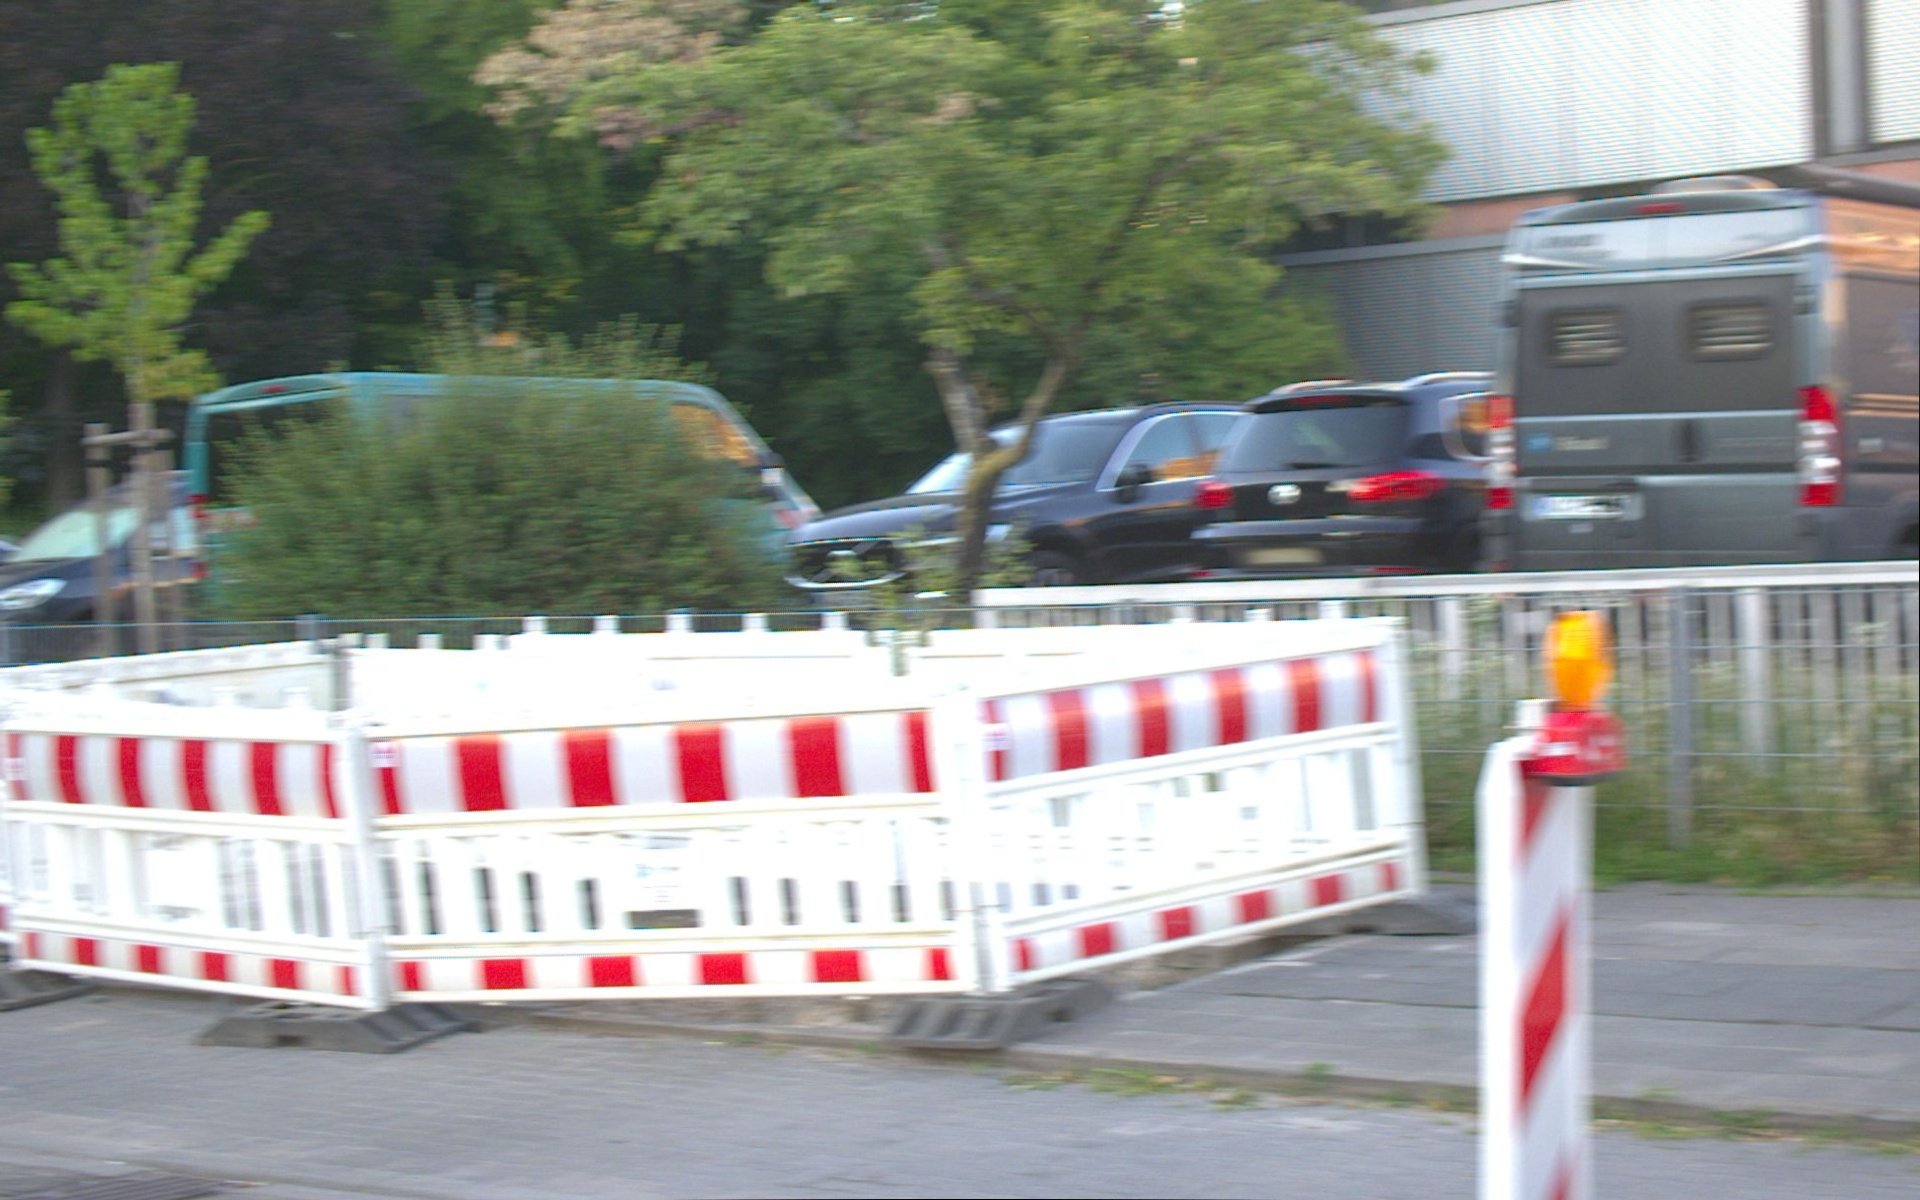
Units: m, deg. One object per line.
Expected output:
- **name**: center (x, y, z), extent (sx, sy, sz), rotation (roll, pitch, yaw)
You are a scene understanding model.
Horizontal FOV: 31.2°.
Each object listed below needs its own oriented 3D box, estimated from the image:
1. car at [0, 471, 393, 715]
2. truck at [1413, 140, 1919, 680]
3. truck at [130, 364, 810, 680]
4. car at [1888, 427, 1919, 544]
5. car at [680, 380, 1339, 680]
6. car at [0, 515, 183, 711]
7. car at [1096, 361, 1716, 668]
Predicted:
- **car**: center (-6.969, -0.092, 28.322), extent (1.998, 1.820, 4.217), rotation (-1, 2, 39)
- **truck**: center (4.924, -1.021, 19.260), extent (2.339, 2.608, 4.962), rotation (-1, 2, 40)
- **truck**: center (-3.465, -0.597, 24.989), extent (2.110, 2.083, 4.502), rotation (-1, 2, 43)
- **car**: center (13.567, -1.518, 43.533), extent (1.901, 1.427, 4.170), rotation (-1, 2, 40)
- **car**: center (0.422, -0.488, 21.997), extent (1.998, 1.721, 4.292), rotation (-1, 2, 37)
- **car**: center (-9.136, 0.155, 30.001), extent (1.998, 1.641, 4.217), rotation (-1, 2, 39)
- **car**: center (2.825, -0.551, 21.080), extent (1.998, 1.686, 3.992), rotation (-1, 2, 37)
